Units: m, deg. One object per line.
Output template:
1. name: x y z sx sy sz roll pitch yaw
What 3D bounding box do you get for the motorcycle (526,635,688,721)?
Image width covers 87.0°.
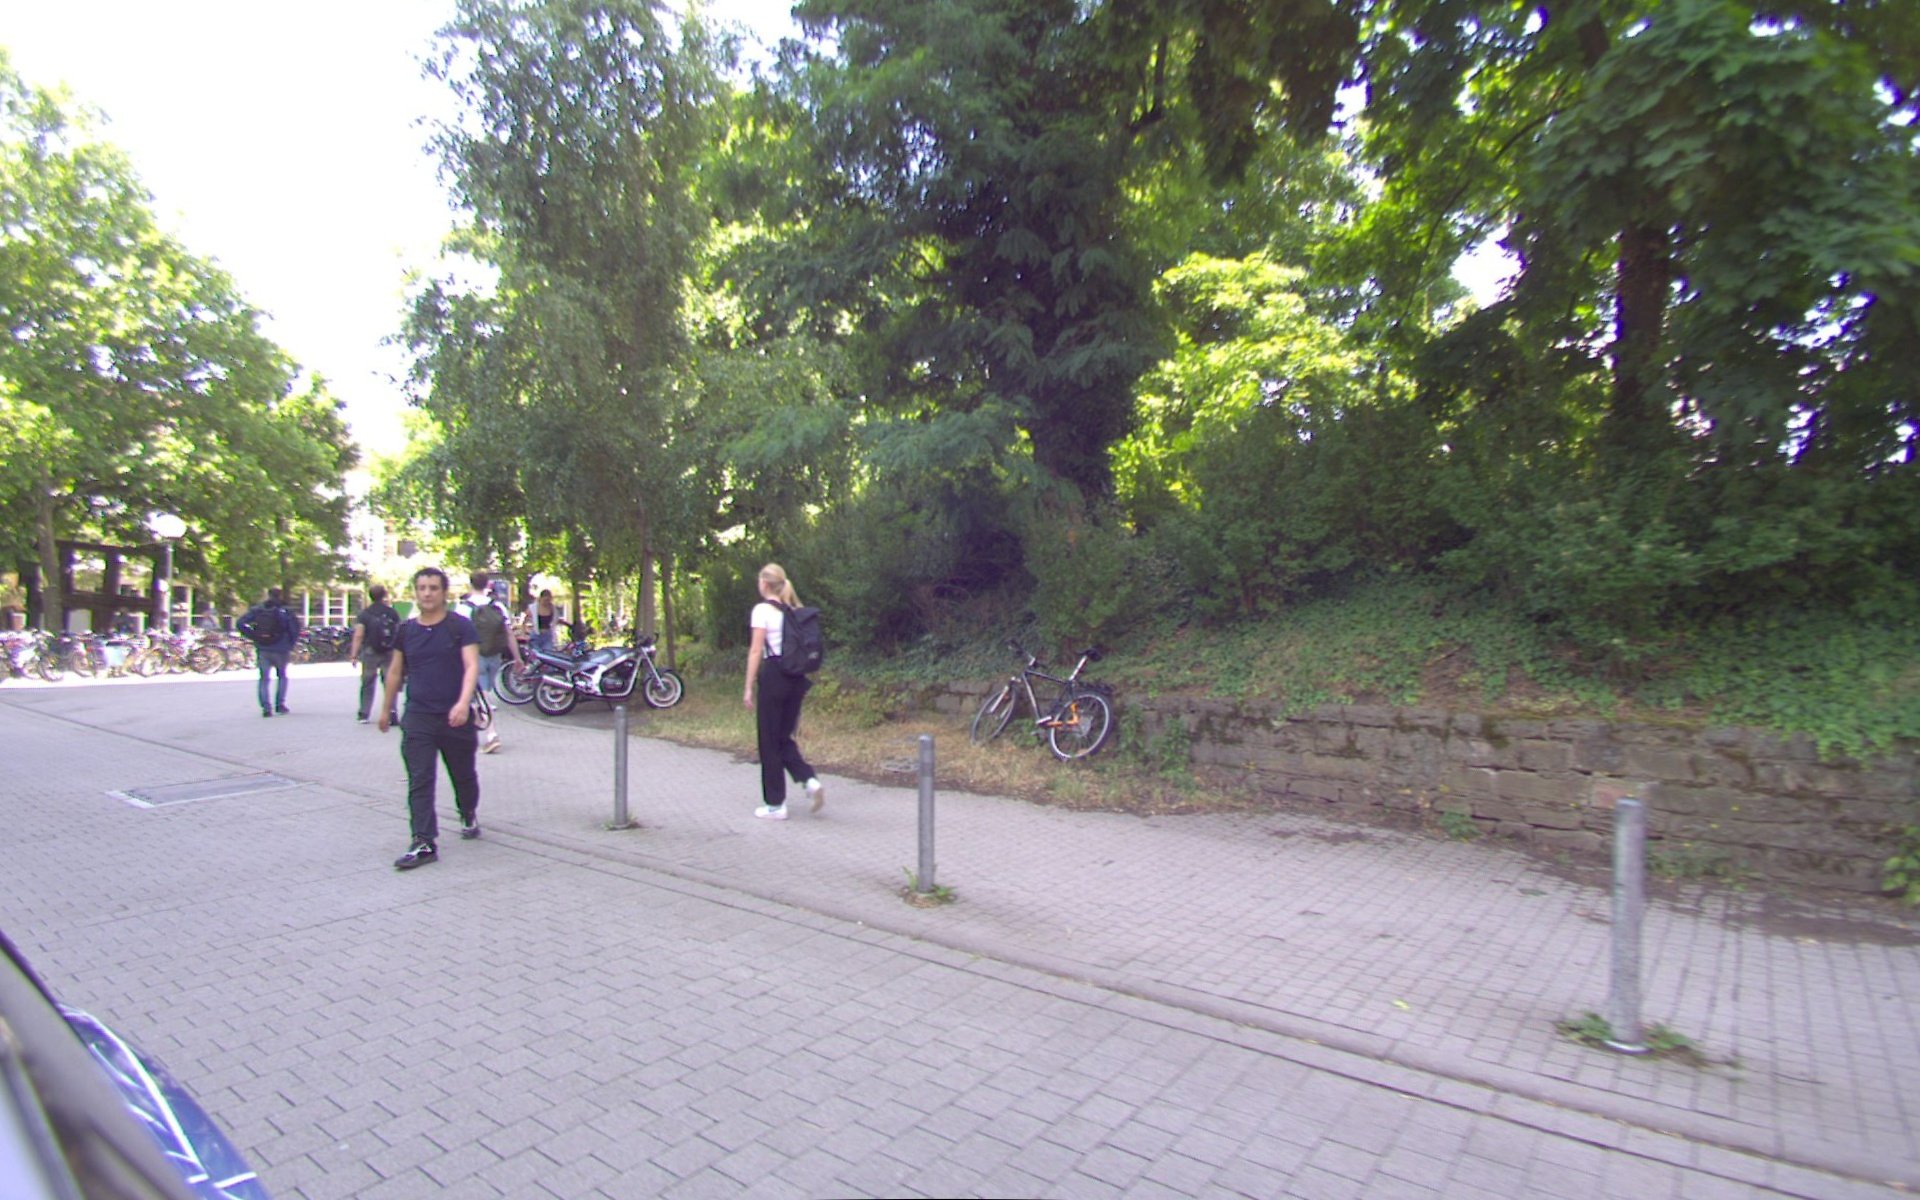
1. motorcycle: -4.727 1.036 13.648 1.993 1.055 0.475 -2 -1 -9

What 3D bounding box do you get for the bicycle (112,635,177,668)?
1. bicycle: -28.166 1.768 34.982 1.671 1.116 0.504 0 -1 -16

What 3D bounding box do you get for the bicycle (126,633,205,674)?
1. bicycle: -22.172 1.478 28.259 1.670 1.092 0.475 0 -1 -21

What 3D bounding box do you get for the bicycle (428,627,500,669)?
1. bicycle: -13.896 1.337 28.362 1.748 1.118 0.475 0 -1 -13

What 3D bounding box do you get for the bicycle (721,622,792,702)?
1. bicycle: -2.973 0.870 14.697 0.466 1.055 1.705 -2 1 -30

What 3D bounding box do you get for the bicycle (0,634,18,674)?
1. bicycle: -27.699 1.543 28.485 0.472 1.116 1.684 -1 -1 27

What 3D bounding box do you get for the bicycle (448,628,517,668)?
1. bicycle: -13.818 1.390 29.331 1.748 1.118 0.475 0 -1 -13

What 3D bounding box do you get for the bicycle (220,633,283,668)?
1. bicycle: -23.106 1.635 33.015 1.673 1.092 0.475 0 -1 -7

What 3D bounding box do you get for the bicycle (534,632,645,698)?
1. bicycle: -6.128 1.065 16.793 1.674 1.055 0.474 0 -1 -2

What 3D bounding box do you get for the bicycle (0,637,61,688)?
1. bicycle: -21.308 1.411 22.682 0.472 1.099 1.681 -1 -1 32

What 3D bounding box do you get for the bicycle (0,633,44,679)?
1. bicycle: -24.831 1.457 26.230 0.469 1.166 1.694 -1 -1 11

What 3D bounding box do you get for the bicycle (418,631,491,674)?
1. bicycle: -13.869 1.435 27.802 1.749 1.118 0.475 0 -1 -8

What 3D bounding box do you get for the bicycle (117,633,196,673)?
1. bicycle: -22.683 1.488 28.598 1.670 1.092 0.475 0 -1 -21

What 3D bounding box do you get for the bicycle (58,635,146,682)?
1. bicycle: -21.483 1.450 25.380 1.672 1.092 0.475 0 -1 -40

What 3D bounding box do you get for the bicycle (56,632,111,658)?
1. bicycle: -39.303 2.025 45.387 0.392 1.116 1.820 -1 -1 31

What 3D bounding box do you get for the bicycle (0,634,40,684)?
1. bicycle: -23.118 1.413 24.135 0.471 1.177 1.685 -1 -1 25

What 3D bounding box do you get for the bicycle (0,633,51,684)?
1. bicycle: -22.528 1.373 23.739 1.753 1.177 0.475 0 -1 -39

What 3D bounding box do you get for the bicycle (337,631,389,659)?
1. bicycle: -24.309 1.830 41.234 1.833 1.092 0.474 0 -1 1

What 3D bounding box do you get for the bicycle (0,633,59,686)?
1. bicycle: -21.847 1.374 23.229 0.472 1.177 1.681 -1 -1 32

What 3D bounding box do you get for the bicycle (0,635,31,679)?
1. bicycle: -25.283 1.490 26.318 0.469 1.116 1.694 -1 -1 11

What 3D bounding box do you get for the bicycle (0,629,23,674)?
1. bicycle: -26.274 1.395 27.097 0.472 1.196 1.684 -1 -1 27

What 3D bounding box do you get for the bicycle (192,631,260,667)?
1. bicycle: -23.138 1.543 31.936 1.671 1.092 0.475 0 -1 -16

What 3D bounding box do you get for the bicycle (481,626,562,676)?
1. bicycle: -10.400 1.195 24.039 1.747 1.118 0.476 0 -1 -23

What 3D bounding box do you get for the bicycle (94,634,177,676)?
1. bicycle: -22.205 1.472 27.281 1.670 1.092 0.475 0 -1 -17

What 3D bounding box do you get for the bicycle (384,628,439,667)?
1. bicycle: -16.824 1.438 31.073 0.469 1.118 1.840 -1 -1 9

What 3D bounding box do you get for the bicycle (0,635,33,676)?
1. bicycle: -26.530 1.527 27.663 0.563 1.116 1.684 -1 -1 27

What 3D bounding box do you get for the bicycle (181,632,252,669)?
1. bicycle: -22.691 1.538 30.912 1.671 1.092 0.475 0 -1 -16

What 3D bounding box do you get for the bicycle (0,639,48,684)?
1. bicycle: -23.933 1.538 25.423 0.468 1.070 1.698 -1 -1 3

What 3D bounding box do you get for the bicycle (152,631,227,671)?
1. bicycle: -22.303 1.469 29.307 1.671 1.092 0.475 0 -1 -16

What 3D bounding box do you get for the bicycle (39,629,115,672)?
1. bicycle: -26.857 1.525 30.814 0.500 1.229 1.684 -1 -1 27

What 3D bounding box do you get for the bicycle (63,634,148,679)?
1. bicycle: -22.147 1.459 26.273 1.672 1.092 0.475 0 -1 -39

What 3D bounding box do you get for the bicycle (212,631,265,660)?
1. bicycle: -28.512 1.790 40.026 1.755 1.116 0.503 0 -1 1

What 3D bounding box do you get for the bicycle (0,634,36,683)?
1. bicycle: -23.525 1.431 24.494 0.471 1.177 1.687 -1 -1 21

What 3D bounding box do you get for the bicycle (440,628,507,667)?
1. bicycle: -14.464 1.407 30.131 1.748 1.118 0.475 0 -1 -13

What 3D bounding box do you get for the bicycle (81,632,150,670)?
1. bicycle: -27.885 1.684 33.435 1.671 1.209 0.577 0 -1 -16

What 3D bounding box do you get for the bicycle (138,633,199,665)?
1. bicycle: -28.340 1.744 36.271 1.671 1.116 0.504 0 -1 -12

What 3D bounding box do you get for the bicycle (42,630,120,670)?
1. bicycle: -26.092 1.461 30.077 0.500 1.116 1.684 -1 -1 27

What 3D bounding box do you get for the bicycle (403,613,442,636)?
1. bicycle: -30.747 1.397 57.887 1.854 1.180 0.808 -3 -1 -22

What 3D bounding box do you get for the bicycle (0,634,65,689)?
1. bicycle: -20.956 1.358 22.372 0.472 1.168 1.683 -1 -1 29

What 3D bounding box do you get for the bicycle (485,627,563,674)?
1. bicycle: -10.782 1.229 25.048 1.747 1.118 0.476 0 -1 -23

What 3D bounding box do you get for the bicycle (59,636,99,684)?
1. bicycle: -21.034 1.405 24.142 1.699 1.092 0.501 -1 -1 42

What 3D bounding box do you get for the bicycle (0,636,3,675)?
1. bicycle: -28.154 1.593 28.504 0.471 1.116 1.684 -1 -1 26

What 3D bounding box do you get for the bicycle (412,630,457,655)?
1. bicycle: -23.848 1.917 45.928 1.833 1.092 0.474 0 -1 1

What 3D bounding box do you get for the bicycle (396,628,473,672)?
1. bicycle: -13.847 1.305 26.695 1.749 1.118 0.475 0 -1 -8

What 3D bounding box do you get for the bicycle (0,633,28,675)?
1. bicycle: -25.855 1.444 26.774 0.579 1.116 1.684 -1 -1 27
